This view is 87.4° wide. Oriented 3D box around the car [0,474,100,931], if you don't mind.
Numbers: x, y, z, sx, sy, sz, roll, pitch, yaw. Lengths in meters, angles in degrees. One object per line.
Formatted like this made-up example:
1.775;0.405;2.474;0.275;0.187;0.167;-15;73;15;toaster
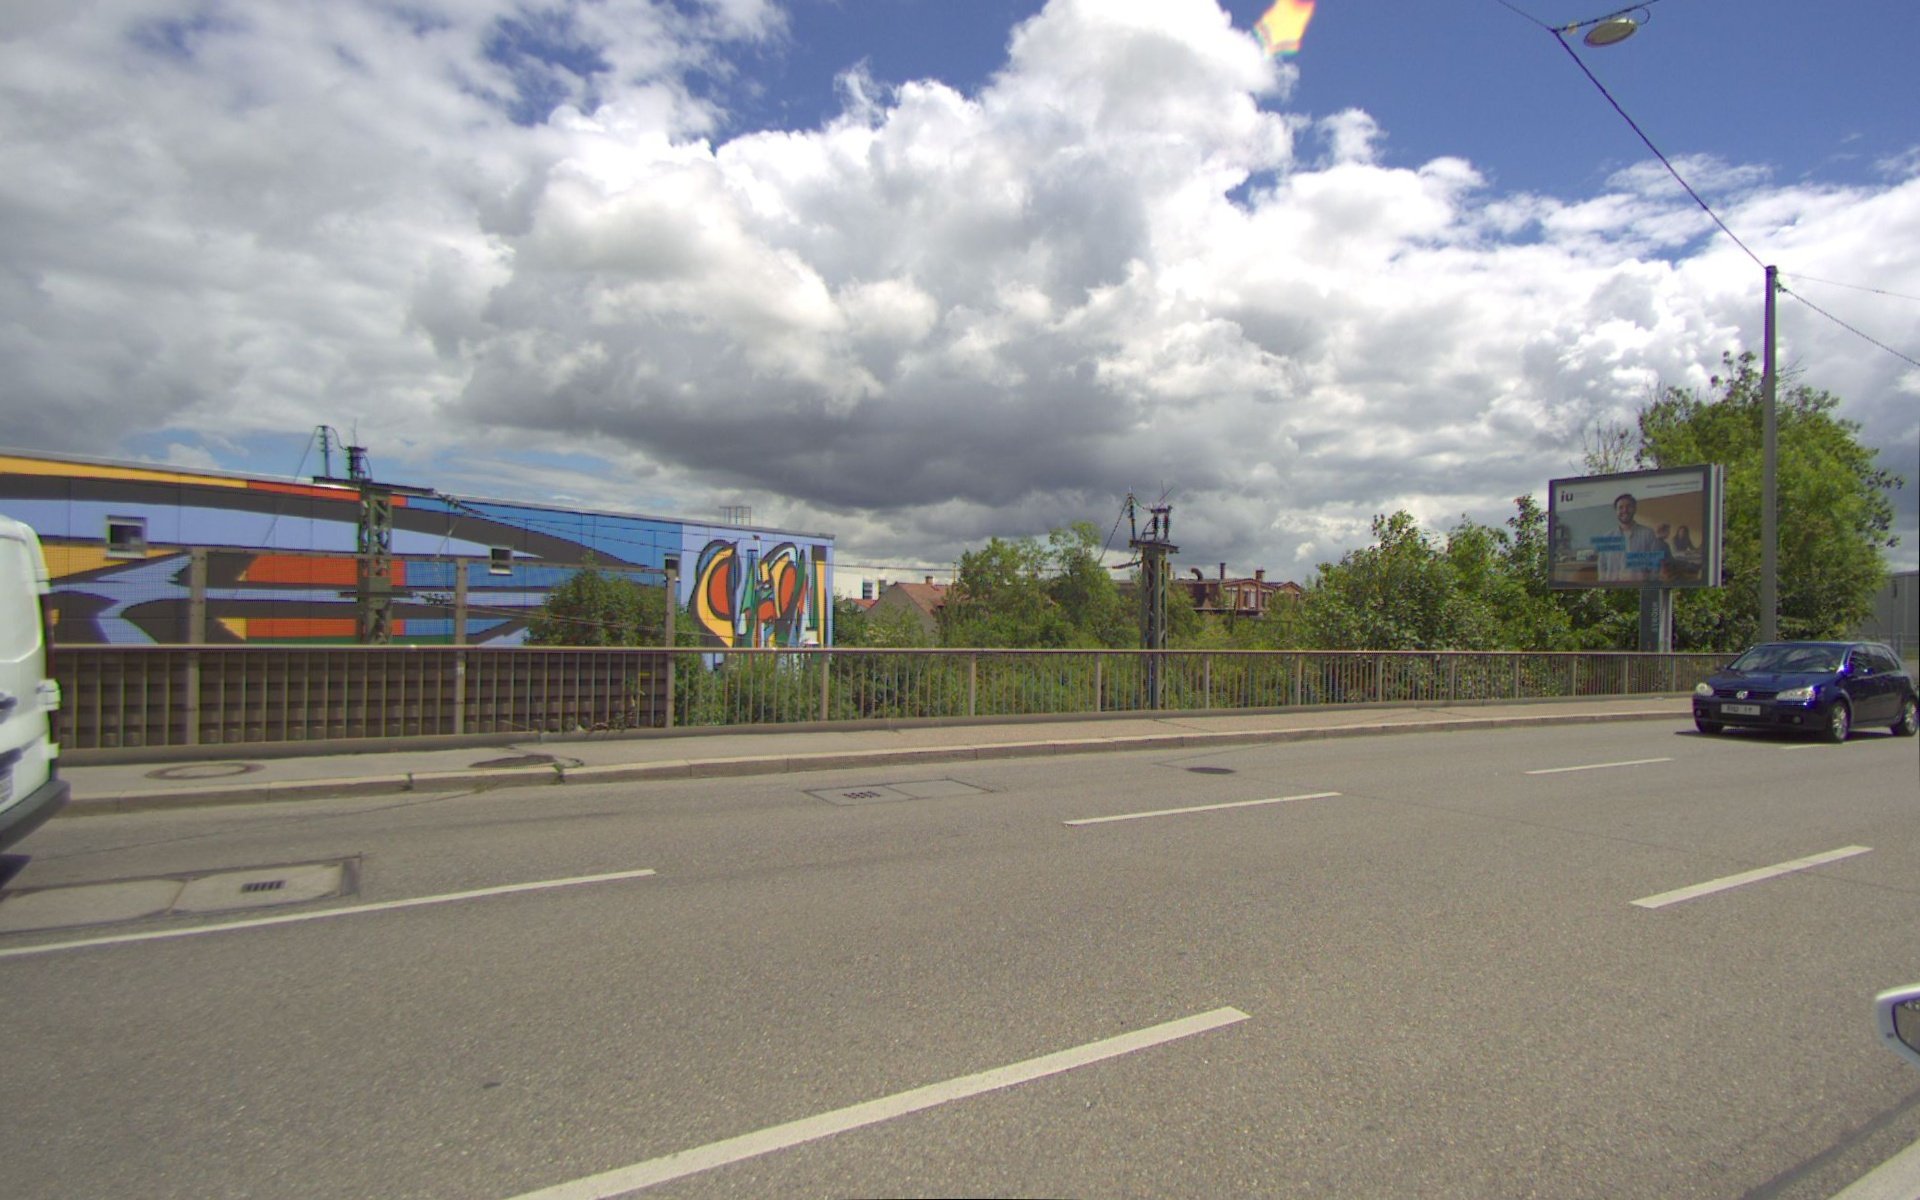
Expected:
-7.088;0.404;3.759;5.586;2.040;1.881;1;0;-31;car

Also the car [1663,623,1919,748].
12.847;1.215;15.464;3.953;1.639;1.847;1;0;-31;car
